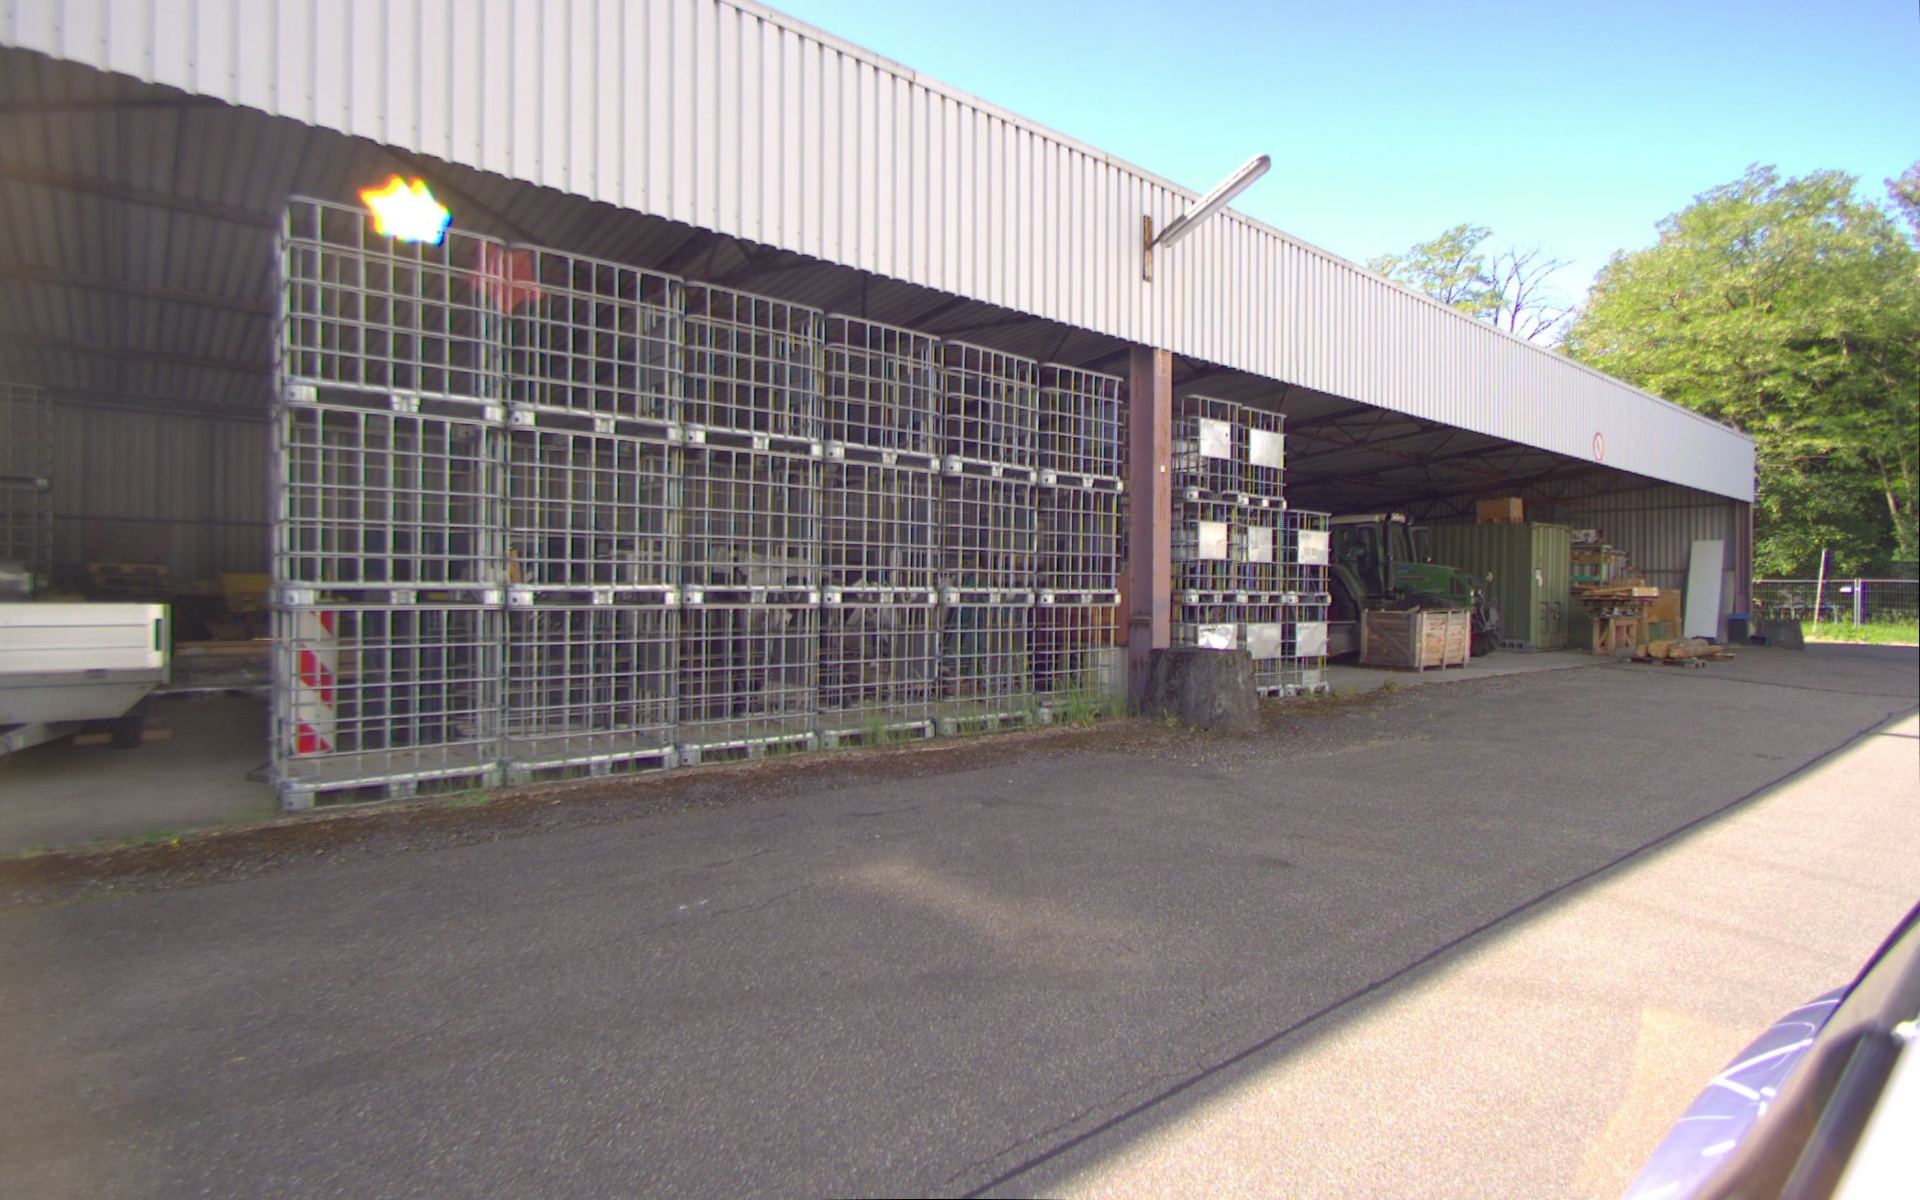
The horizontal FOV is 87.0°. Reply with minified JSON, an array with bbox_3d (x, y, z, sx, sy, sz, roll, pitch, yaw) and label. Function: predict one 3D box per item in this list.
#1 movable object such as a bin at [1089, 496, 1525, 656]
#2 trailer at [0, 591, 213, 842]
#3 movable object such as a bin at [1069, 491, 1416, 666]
[{"bbox_3d":[7.375,-0.489,23.142,3.154,2.947,9.213,0,0,-39],"label":"movable object such as a bin"},{"bbox_3d":[-6.742,0.547,6.949,2.104,1.147,5.857,0,1,-41],"label":"trailer"},{"bbox_3d":[5.438,-0.398,20.393,2.962,2.947,6.199,0,0,-39],"label":"movable object such as a bin"}]
